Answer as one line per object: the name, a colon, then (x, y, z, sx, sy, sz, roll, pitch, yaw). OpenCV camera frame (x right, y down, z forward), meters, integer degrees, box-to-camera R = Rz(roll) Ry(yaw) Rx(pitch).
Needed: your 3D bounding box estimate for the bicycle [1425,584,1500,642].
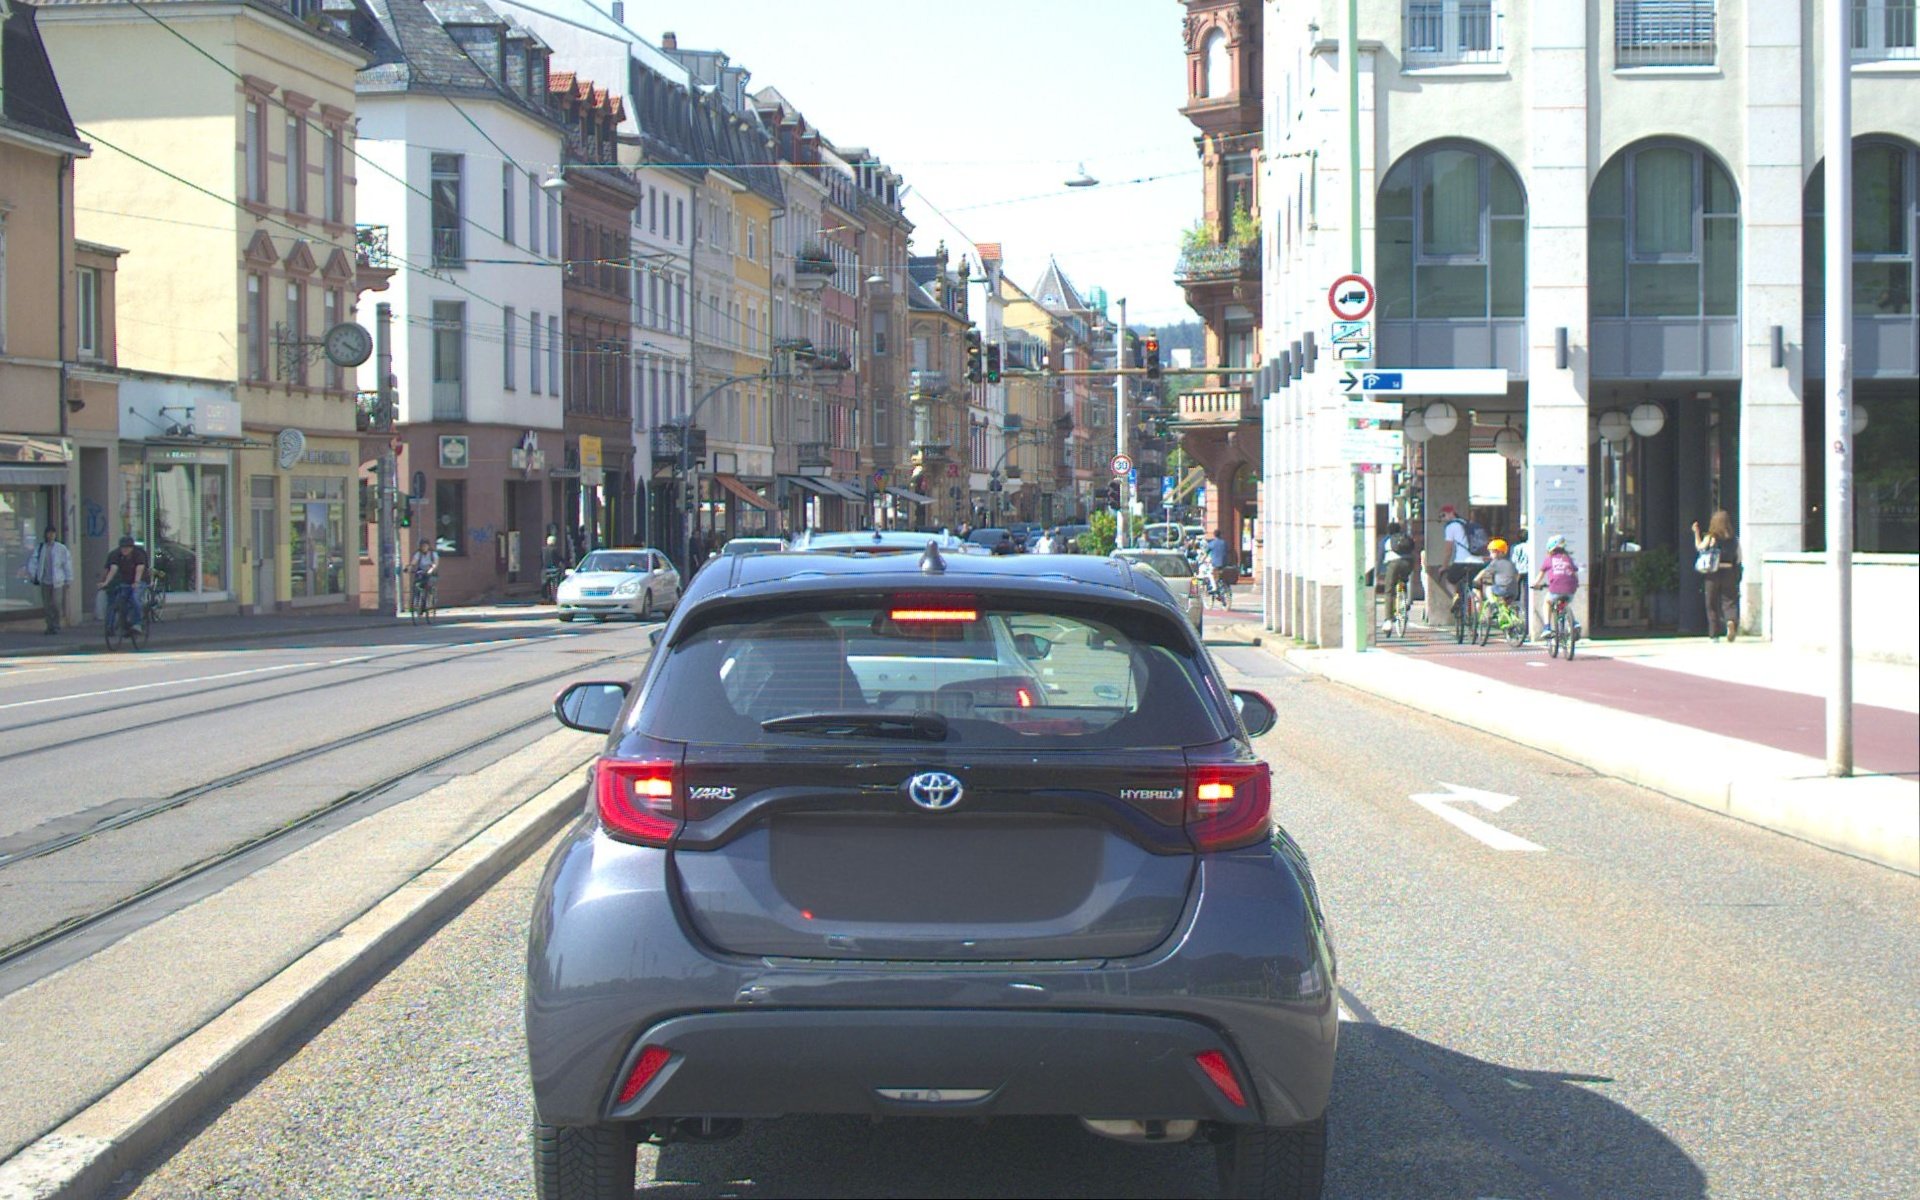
bicycle: (6.795, 0.178, 46.512, 0.416, 0.763, 0.961, -3, 1, -39)

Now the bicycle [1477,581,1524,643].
bicycle: (6.981, 0.154, 44.425, 0.416, 0.763, 0.962, -2, 1, -1)

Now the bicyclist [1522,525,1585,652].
bicyclist: (6.579, -0.131, 38.127, 0.534, 1.378, 0.669, -2, 1, -1)

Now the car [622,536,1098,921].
car: (-0.446, 0.485, 15.923, 1.897, 1.525, 4.000, 1, 1, -1)

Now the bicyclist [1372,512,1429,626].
bicyclist: (6.645, -0.469, 51.867, 0.701, 1.689, 0.924, -1, 1, 0)

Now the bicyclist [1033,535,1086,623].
bicyclist: (2.986, -0.623, 102.765, 1.228, 2.520, 1.104, 4, 1, 11)

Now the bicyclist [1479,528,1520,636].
bicyclist: (6.966, -0.237, 44.390, 0.422, 1.378, 0.443, -2, 1, -1)

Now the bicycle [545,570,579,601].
bicycle: (-10.038, -0.371, 86.665, 0.620, 0.713, 1.771, 4, 1, -1)

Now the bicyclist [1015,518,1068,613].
bicyclist: (2.242, -0.944, 94.523, 1.228, 2.520, 1.105, 4, 1, 5)

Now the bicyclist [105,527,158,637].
bicyclist: (-12.646, -0.278, 52.478, 0.627, 1.644, 0.622, 2, 2, 0)

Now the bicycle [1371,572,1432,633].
bicycle: (6.658, 0.026, 51.861, 0.704, 0.879, 1.525, -1, 1, 0)

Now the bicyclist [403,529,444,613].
bicyclist: (-10.709, -0.584, 68.637, 0.627, 1.644, 0.621, 2, 2, 8)

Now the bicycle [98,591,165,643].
bicycle: (-12.658, 0.249, 52.559, 0.620, 0.713, 1.731, 2, 2, -1)

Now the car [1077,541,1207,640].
car: (2.819, -0.183, 54.139, 1.705, 1.461, 4.326, 1, 1, -1)

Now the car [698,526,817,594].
car: (-4.786, -0.960, 81.973, 1.994, 1.581, 4.651, 0, 1, 7)

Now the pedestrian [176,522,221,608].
pedestrian: (-14.615, -0.678, 65.982, 0.649, 1.596, 0.566, 4, 3, 0)

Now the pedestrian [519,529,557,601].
pedestrian: (-10.671, -0.893, 86.887, 0.736, 1.760, 0.787, 4, 1, 0)

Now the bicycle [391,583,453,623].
bicycle: (-10.732, 0.056, 68.647, 0.620, 0.713, 2.044, 2, 2, 9)

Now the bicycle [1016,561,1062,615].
bicycle: (2.185, -0.342, 94.364, 1.112, 1.415, 3.007, 3, 1, 3)

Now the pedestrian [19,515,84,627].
pedestrian: (-14.782, -0.477, 55.939, 0.736, 1.760, 0.787, 4, 1, 0)

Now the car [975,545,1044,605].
car: (1.835, -0.929, 126.240, 1.994, 2.007, 3.999, 4, 1, 6)

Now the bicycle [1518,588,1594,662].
bicycle: (6.593, 0.269, 38.085, 0.514, 0.763, 1.661, -2, 1, -1)

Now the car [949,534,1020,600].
car: (0.809, -1.025, 109.518, 1.994, 2.007, 3.999, 1, 0, 4)

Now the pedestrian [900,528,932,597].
pedestrian: (-1.712, -1.472, 134.118, 1.051, 2.579, 1.501, 4, 1, 0)

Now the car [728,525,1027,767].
car: (-0.572, 0.262, 24.193, 1.897, 1.525, 4.000, 1, 1, -1)

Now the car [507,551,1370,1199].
car: (-0.081, 0.634, 8.778, 1.720, 1.468, 3.658, 1, 1, -1)

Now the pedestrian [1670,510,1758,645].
pedestrian: (9.378, -0.281, 42.783, 0.739, 1.609, 1.016, 4, 1, -1)

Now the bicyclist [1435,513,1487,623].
bicyclist: (6.774, -0.430, 46.510, 0.484, 1.461, 0.443, -3, 1, -39)

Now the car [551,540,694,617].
car: (-6.548, -0.442, 67.071, 1.732, 1.455, 4.372, 0, 1, 9)

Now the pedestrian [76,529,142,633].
pedestrian: (-13.933, -0.311, 56.307, 0.762, 1.648, 0.711, 4, 1, 3)
